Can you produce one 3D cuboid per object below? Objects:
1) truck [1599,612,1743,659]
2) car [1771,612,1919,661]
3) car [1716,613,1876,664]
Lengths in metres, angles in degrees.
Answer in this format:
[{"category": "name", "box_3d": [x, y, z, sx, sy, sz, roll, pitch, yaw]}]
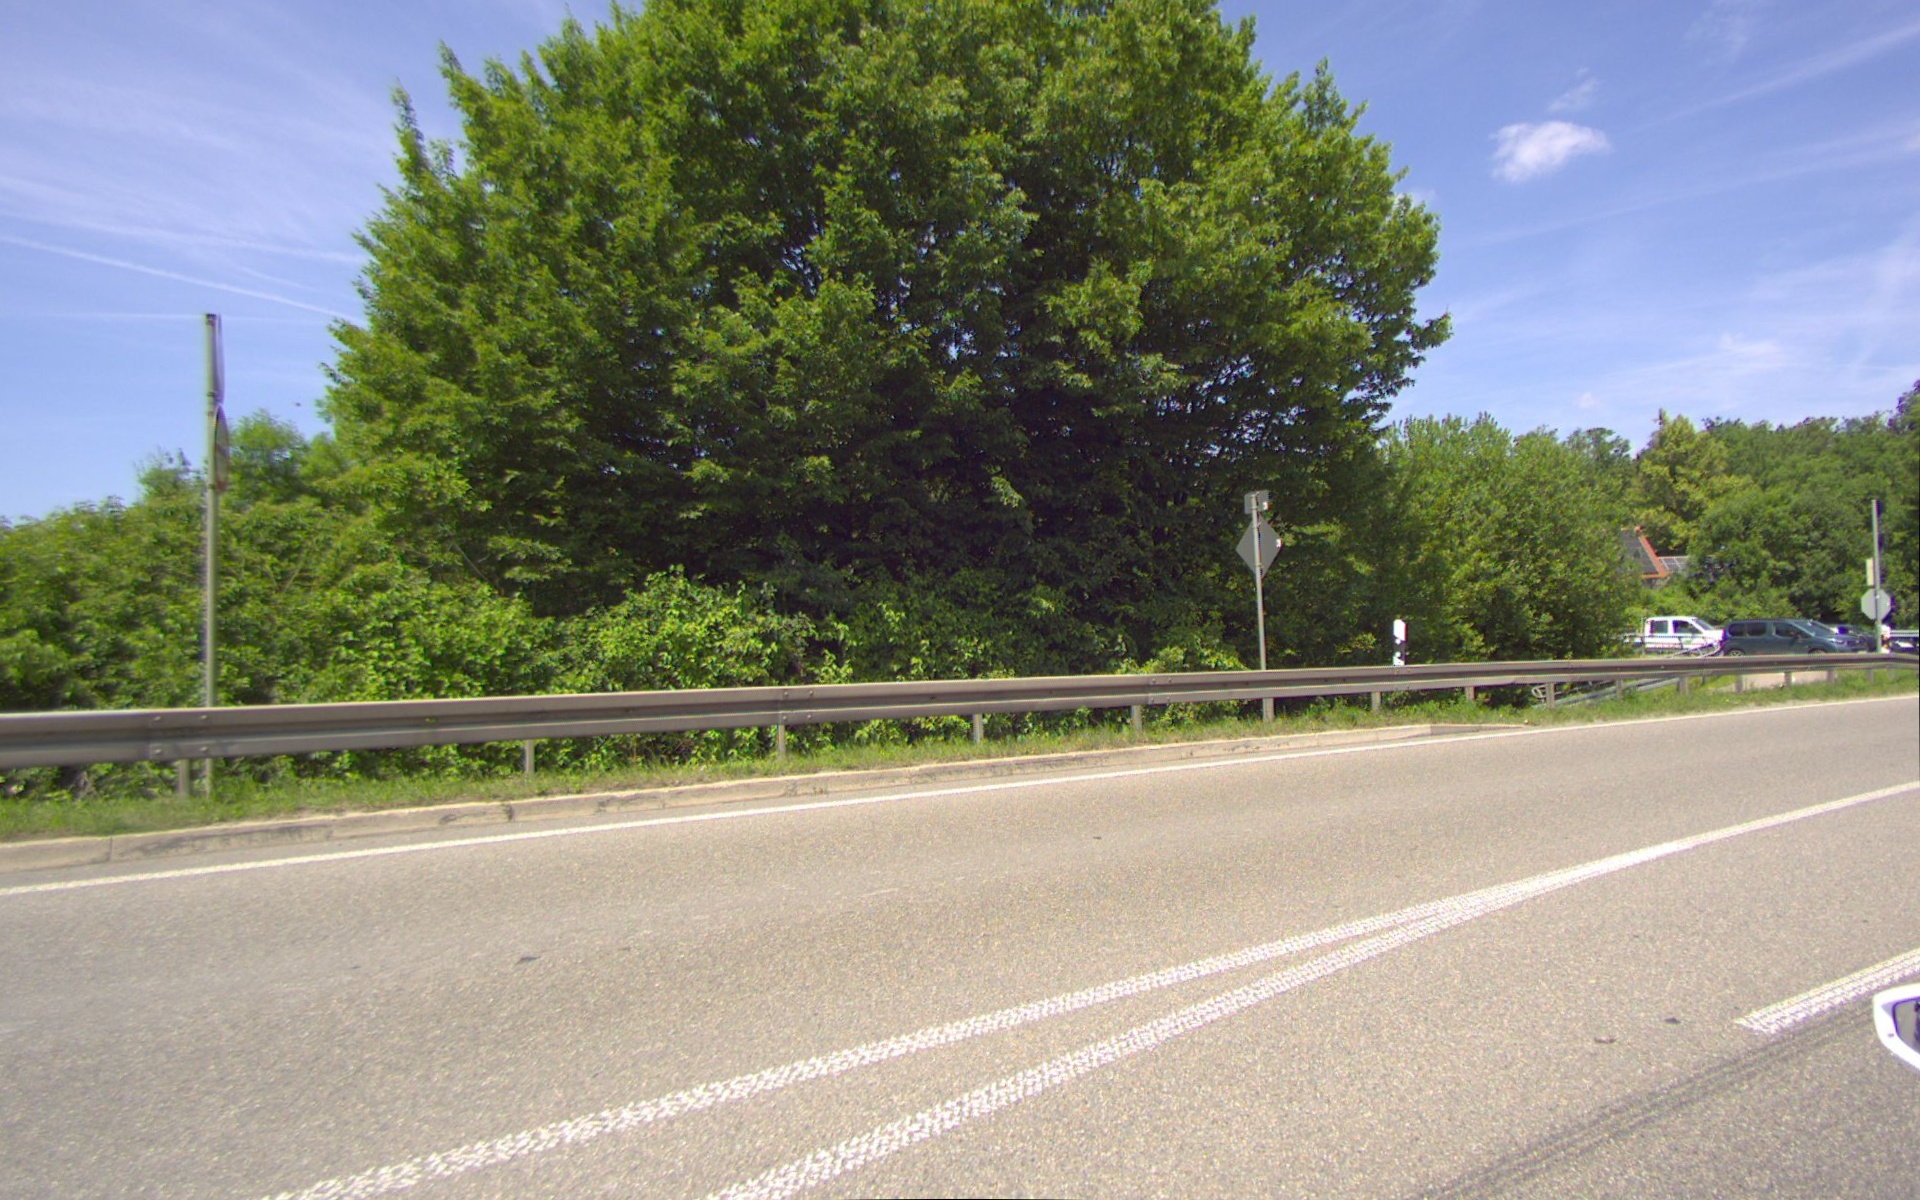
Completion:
[{"category": "truck", "box_3d": [31.285, 1.535, 44.325, 2.027, 1.815, 4.834, 3, 0, -40]}, {"category": "car", "box_3d": [34.809, 1.403, 39.450, 1.969, 1.793, 4.230, 1, -1, -18]}, {"category": "car", "box_3d": [31.167, 1.400, 37.609, 1.969, 1.793, 4.230, 1, -1, -18]}]
